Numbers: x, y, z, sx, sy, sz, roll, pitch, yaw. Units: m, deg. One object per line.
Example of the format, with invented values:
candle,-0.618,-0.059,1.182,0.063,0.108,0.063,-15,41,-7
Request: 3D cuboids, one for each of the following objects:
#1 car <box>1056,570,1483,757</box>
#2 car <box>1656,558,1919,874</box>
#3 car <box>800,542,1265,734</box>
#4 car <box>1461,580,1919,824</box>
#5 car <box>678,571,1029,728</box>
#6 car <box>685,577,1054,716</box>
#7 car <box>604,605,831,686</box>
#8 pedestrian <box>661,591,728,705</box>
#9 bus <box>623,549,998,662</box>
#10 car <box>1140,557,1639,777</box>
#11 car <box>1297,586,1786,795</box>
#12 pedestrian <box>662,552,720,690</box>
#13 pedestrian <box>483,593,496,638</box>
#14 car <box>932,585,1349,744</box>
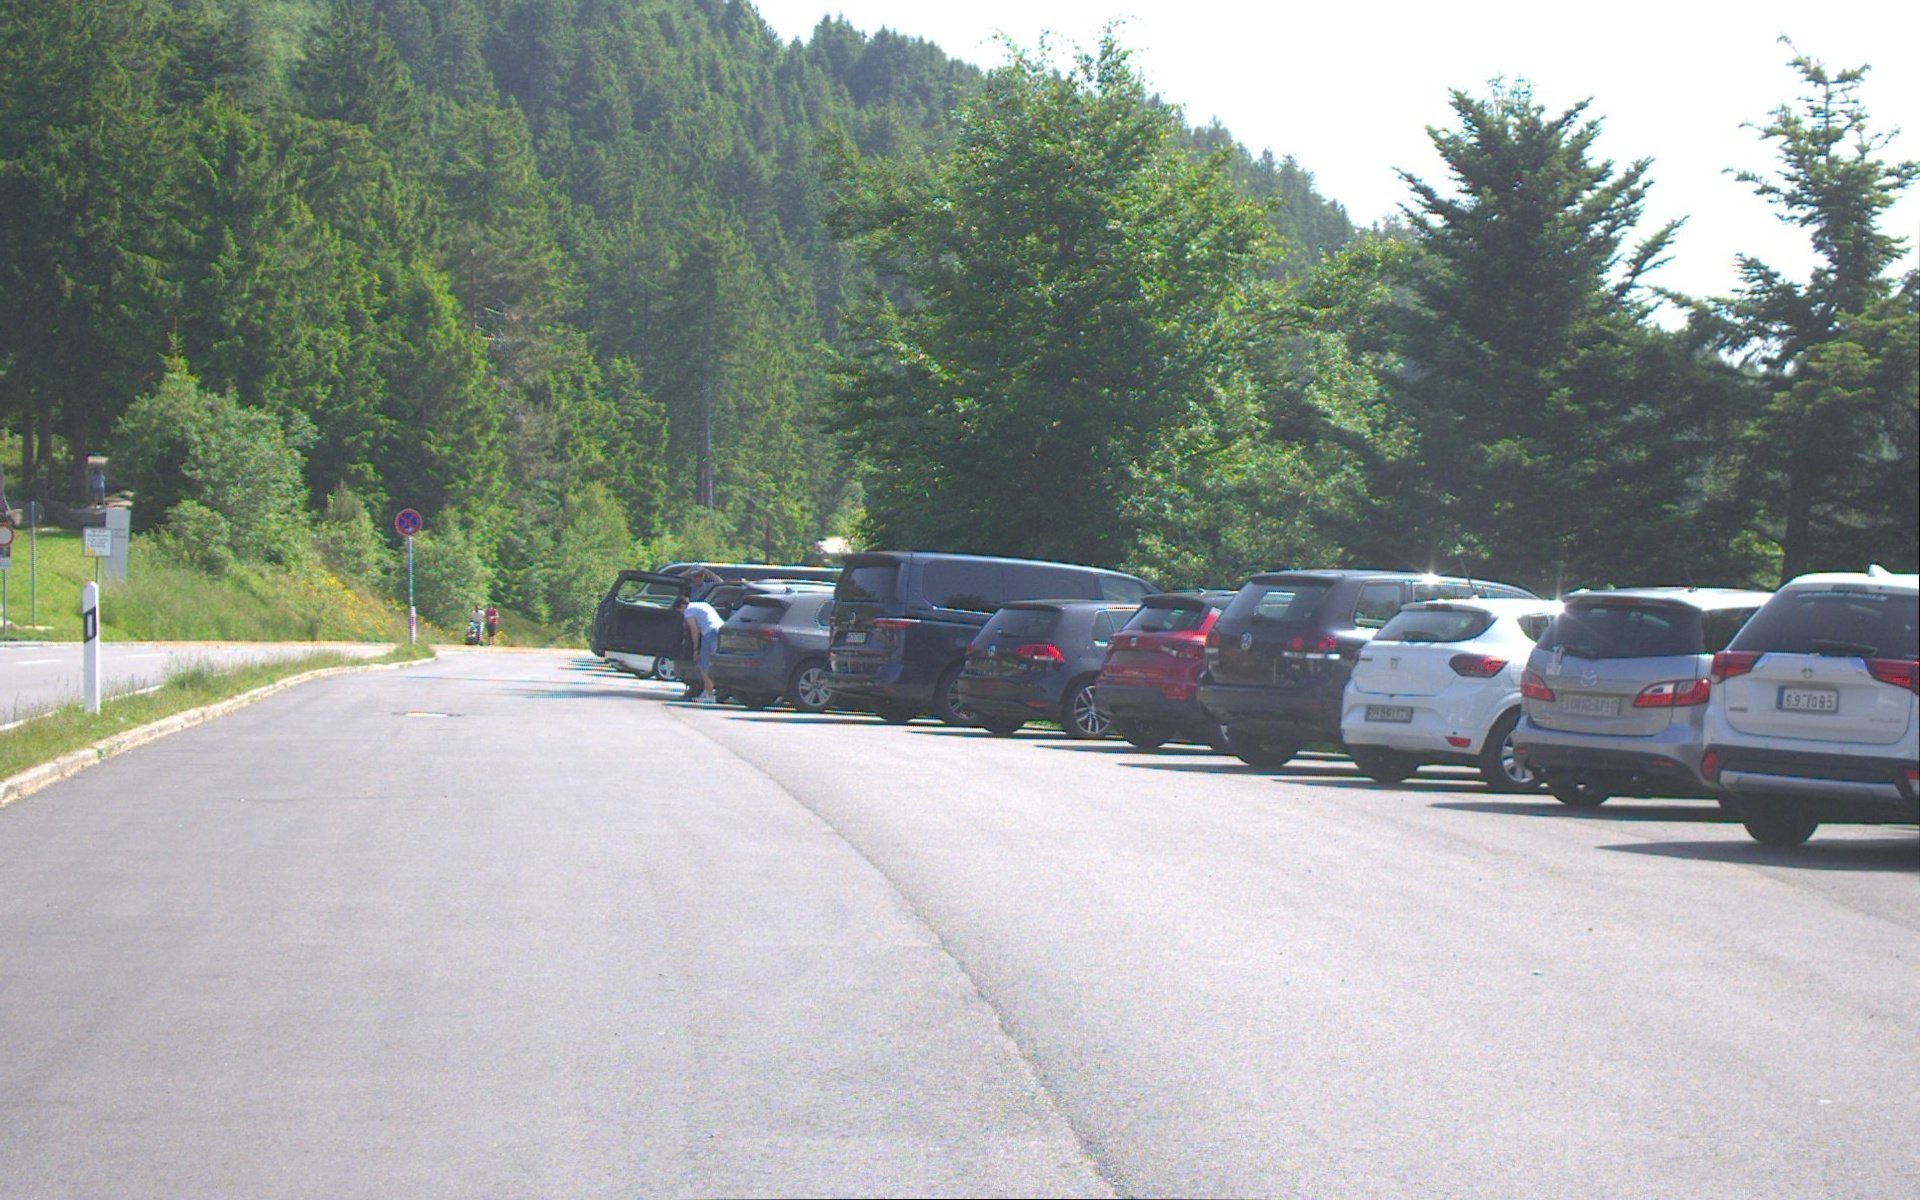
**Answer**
car,3.023,0.632,33.113,3.989,1.584,1.863,3,0,-44
car,6.281,0.697,20.955,4.215,1.689,1.863,2,0,-44
car,0.828,0.432,38.658,4.756,1.873,1.967,3,0,-25
car,5.588,0.748,24.630,3.989,1.543,1.819,3,0,-44
car,-1.368,0.651,44.619,3.987,1.656,2.000,6,-2,-34
car,-1.090,0.561,41.540,3.986,1.438,1.840,3,0,-27
car,-5.173,0.972,73.399,4.452,1.294,1.582,5,-1,-22
pedestrian,-3.308,0.591,42.827,0.773,1.398,0.669,0,2,0
bus,-5.285,0.157,121.935,12.866,3.566,2.980,2,2,10
car,3.785,0.604,29.846,4.261,1.689,1.990,3,0,-44
car,4.707,0.747,27.516,3.989,1.471,1.767,3,0,-44
pedestrian,-3.530,0.274,45.137,0.578,1.755,0.633,4,-1,-11
pedestrian,-18.461,0.610,134.824,0.395,1.741,0.406,1,1,8
car,1.890,0.678,35.540,3.987,1.410,1.744,3,0,-34
